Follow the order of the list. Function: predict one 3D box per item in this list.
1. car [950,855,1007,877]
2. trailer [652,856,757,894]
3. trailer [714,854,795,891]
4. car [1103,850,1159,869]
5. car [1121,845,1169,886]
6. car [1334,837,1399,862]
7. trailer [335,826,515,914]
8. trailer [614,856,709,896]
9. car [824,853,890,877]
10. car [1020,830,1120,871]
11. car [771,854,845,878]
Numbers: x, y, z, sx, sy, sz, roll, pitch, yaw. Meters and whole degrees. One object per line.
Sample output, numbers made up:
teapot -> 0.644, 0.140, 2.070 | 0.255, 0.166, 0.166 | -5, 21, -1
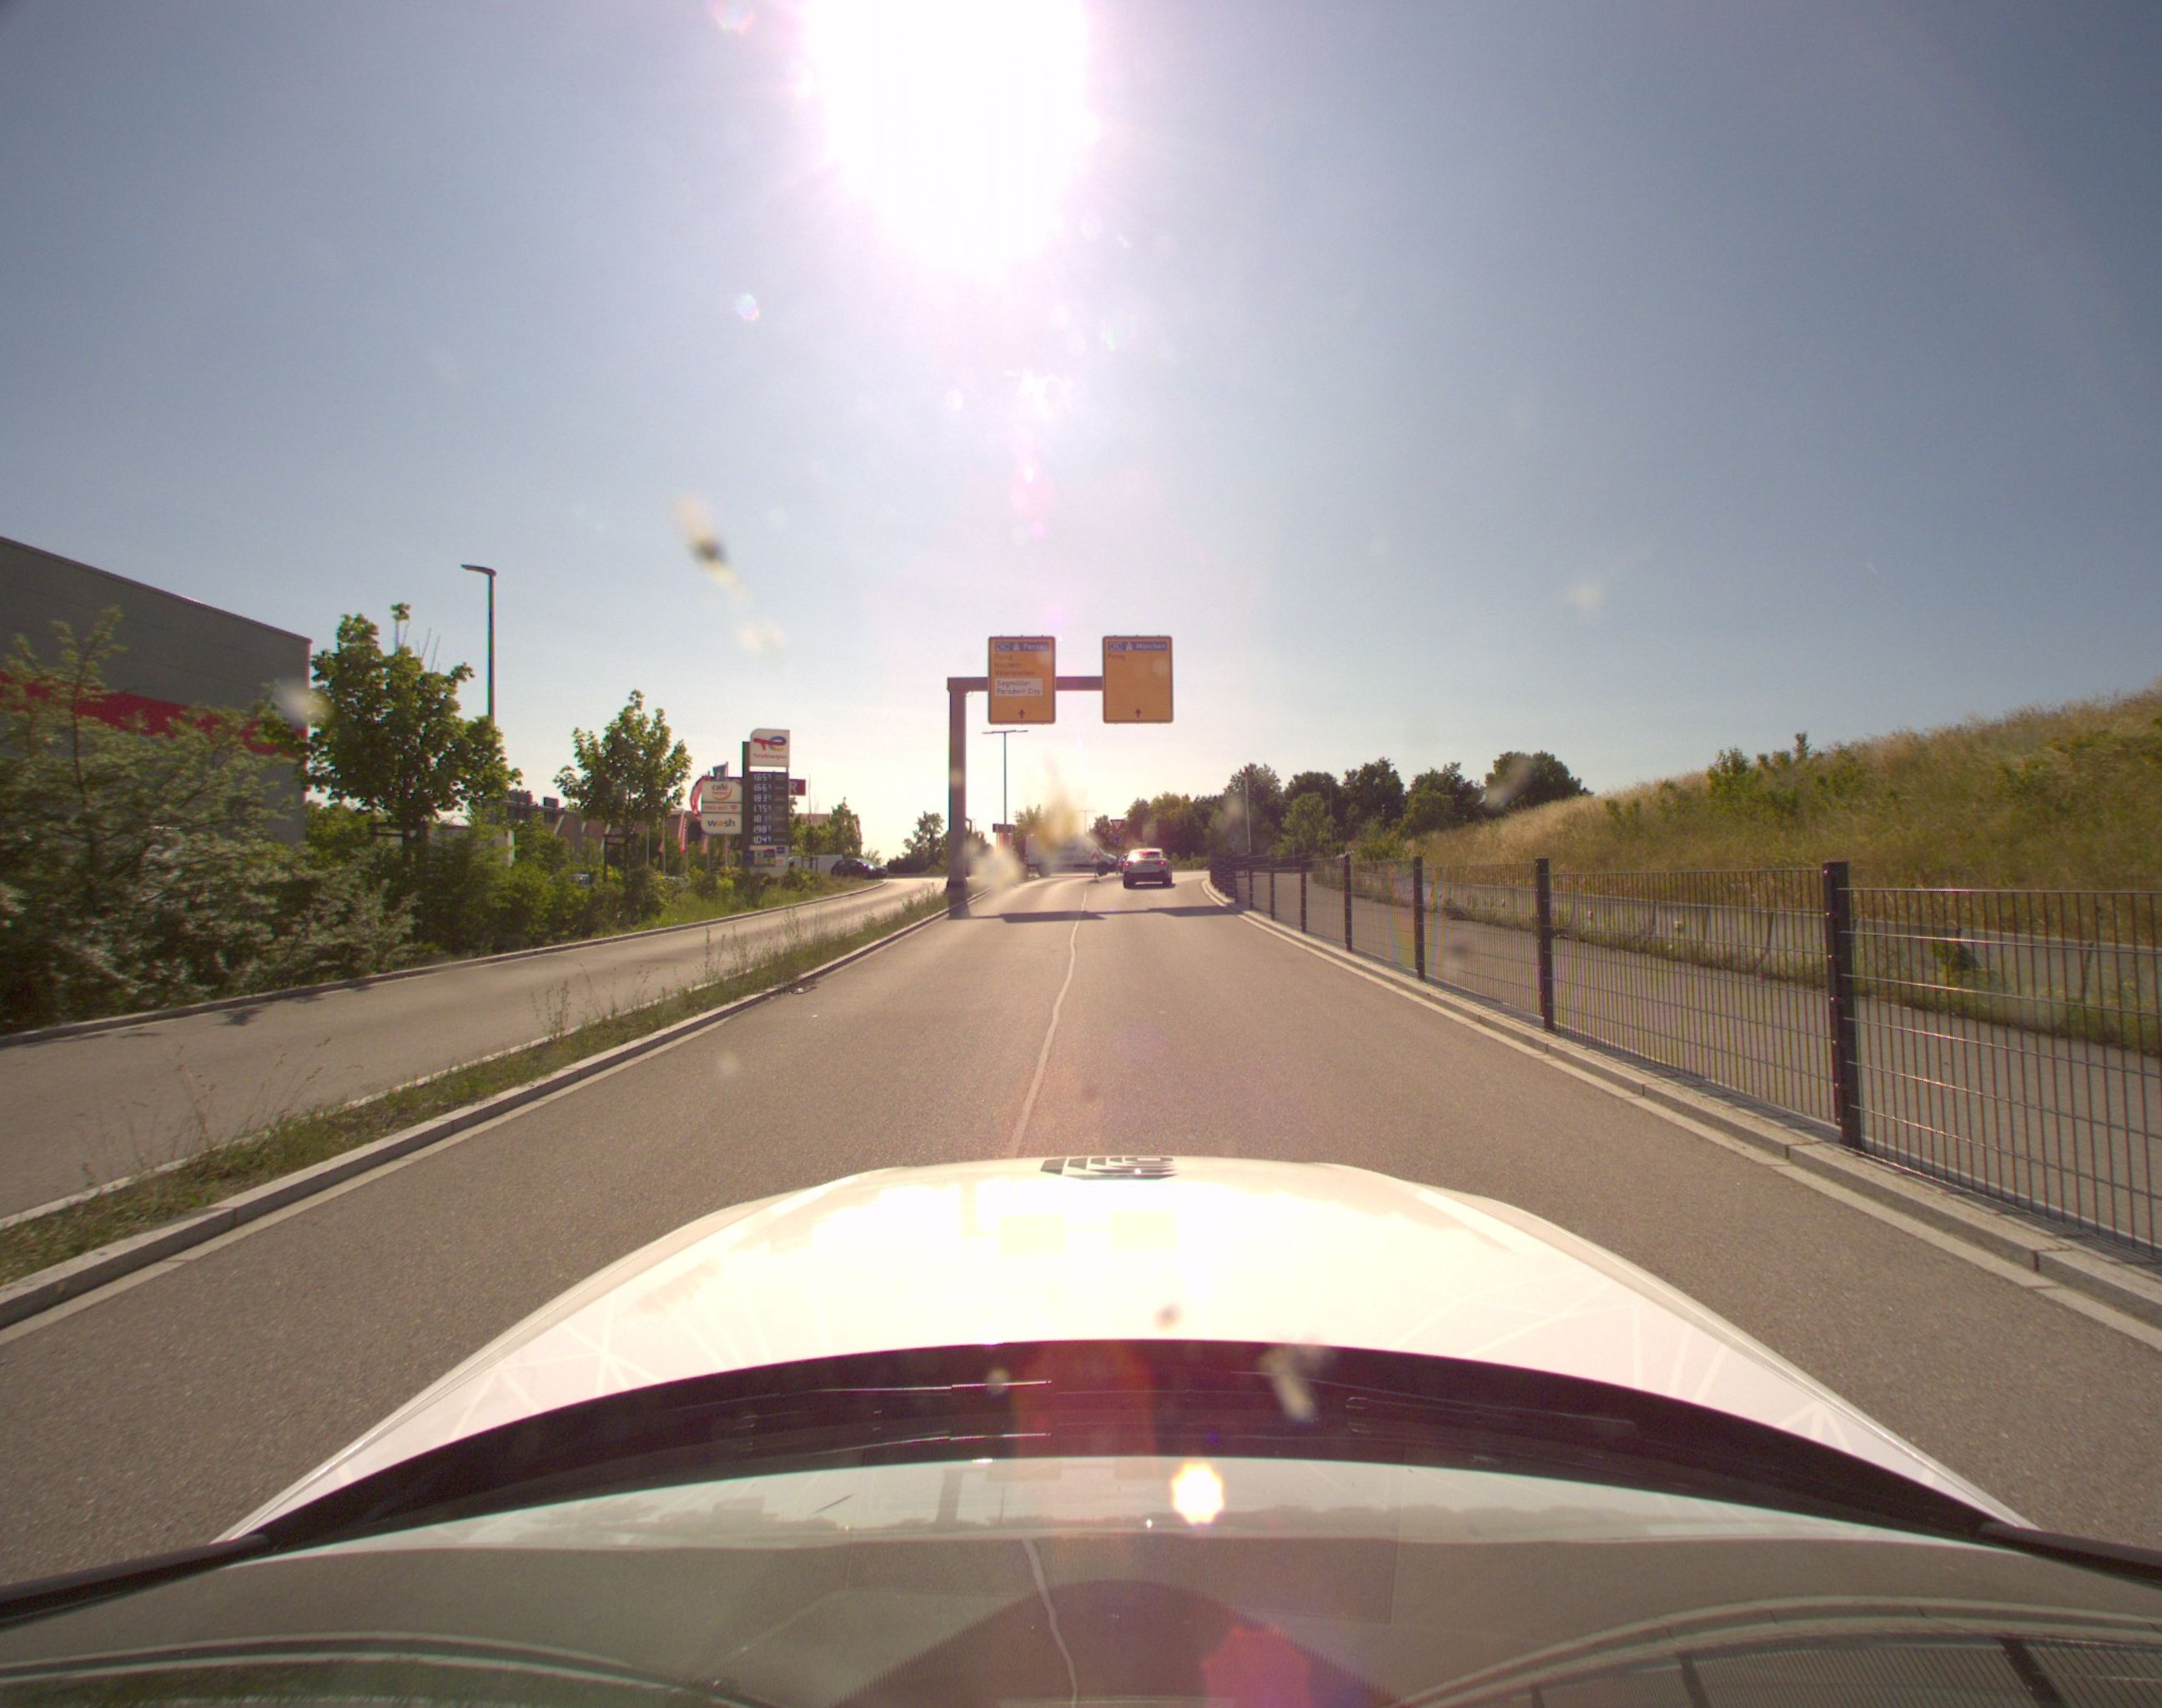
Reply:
car -> -7.542, 0.875, 59.791 | 3.689, 1.618, 1.883 | 0, -1, 24
trailer -> -15.839, 0.905, 34.291 | 3.711, 1.452, 1.690 | 4, -3, -35
trailer -> -17.526, 0.953, 43.717 | 3.712, 1.772, 1.788 | -2, 0, -35
car -> 3.575, 0.395, 59.044 | 3.804, 1.405, 1.621 | 0, -1, -10
car -> 2.669, 0.476, 34.018 | 1.833, 1.596, 4.330 | -1, -1, 5
car -> 19.695, -0.284, 56.296 | 3.834, 1.717, 1.999 | 0, -1, -1
trailer -> -16.173, 0.384, 20.295 | 3.251, 2.014, 1.730 | 0, -1, -32
trailer -> -19.416, 0.973, 37.753 | 3.712, 1.772, 1.788 | 0, -1, -35
car -> -15.381, 0.772, 55.961 | 3.928, 1.618, 1.821 | 0, -1, 6
car -> -0.659, -0.202, 51.315 | 6.147, 2.554, 2.092 | 0, -1, 3
car -> -25.678, 1.132, 76.764 | 6.294, 2.234, 2.019 | 0, -1, -31
